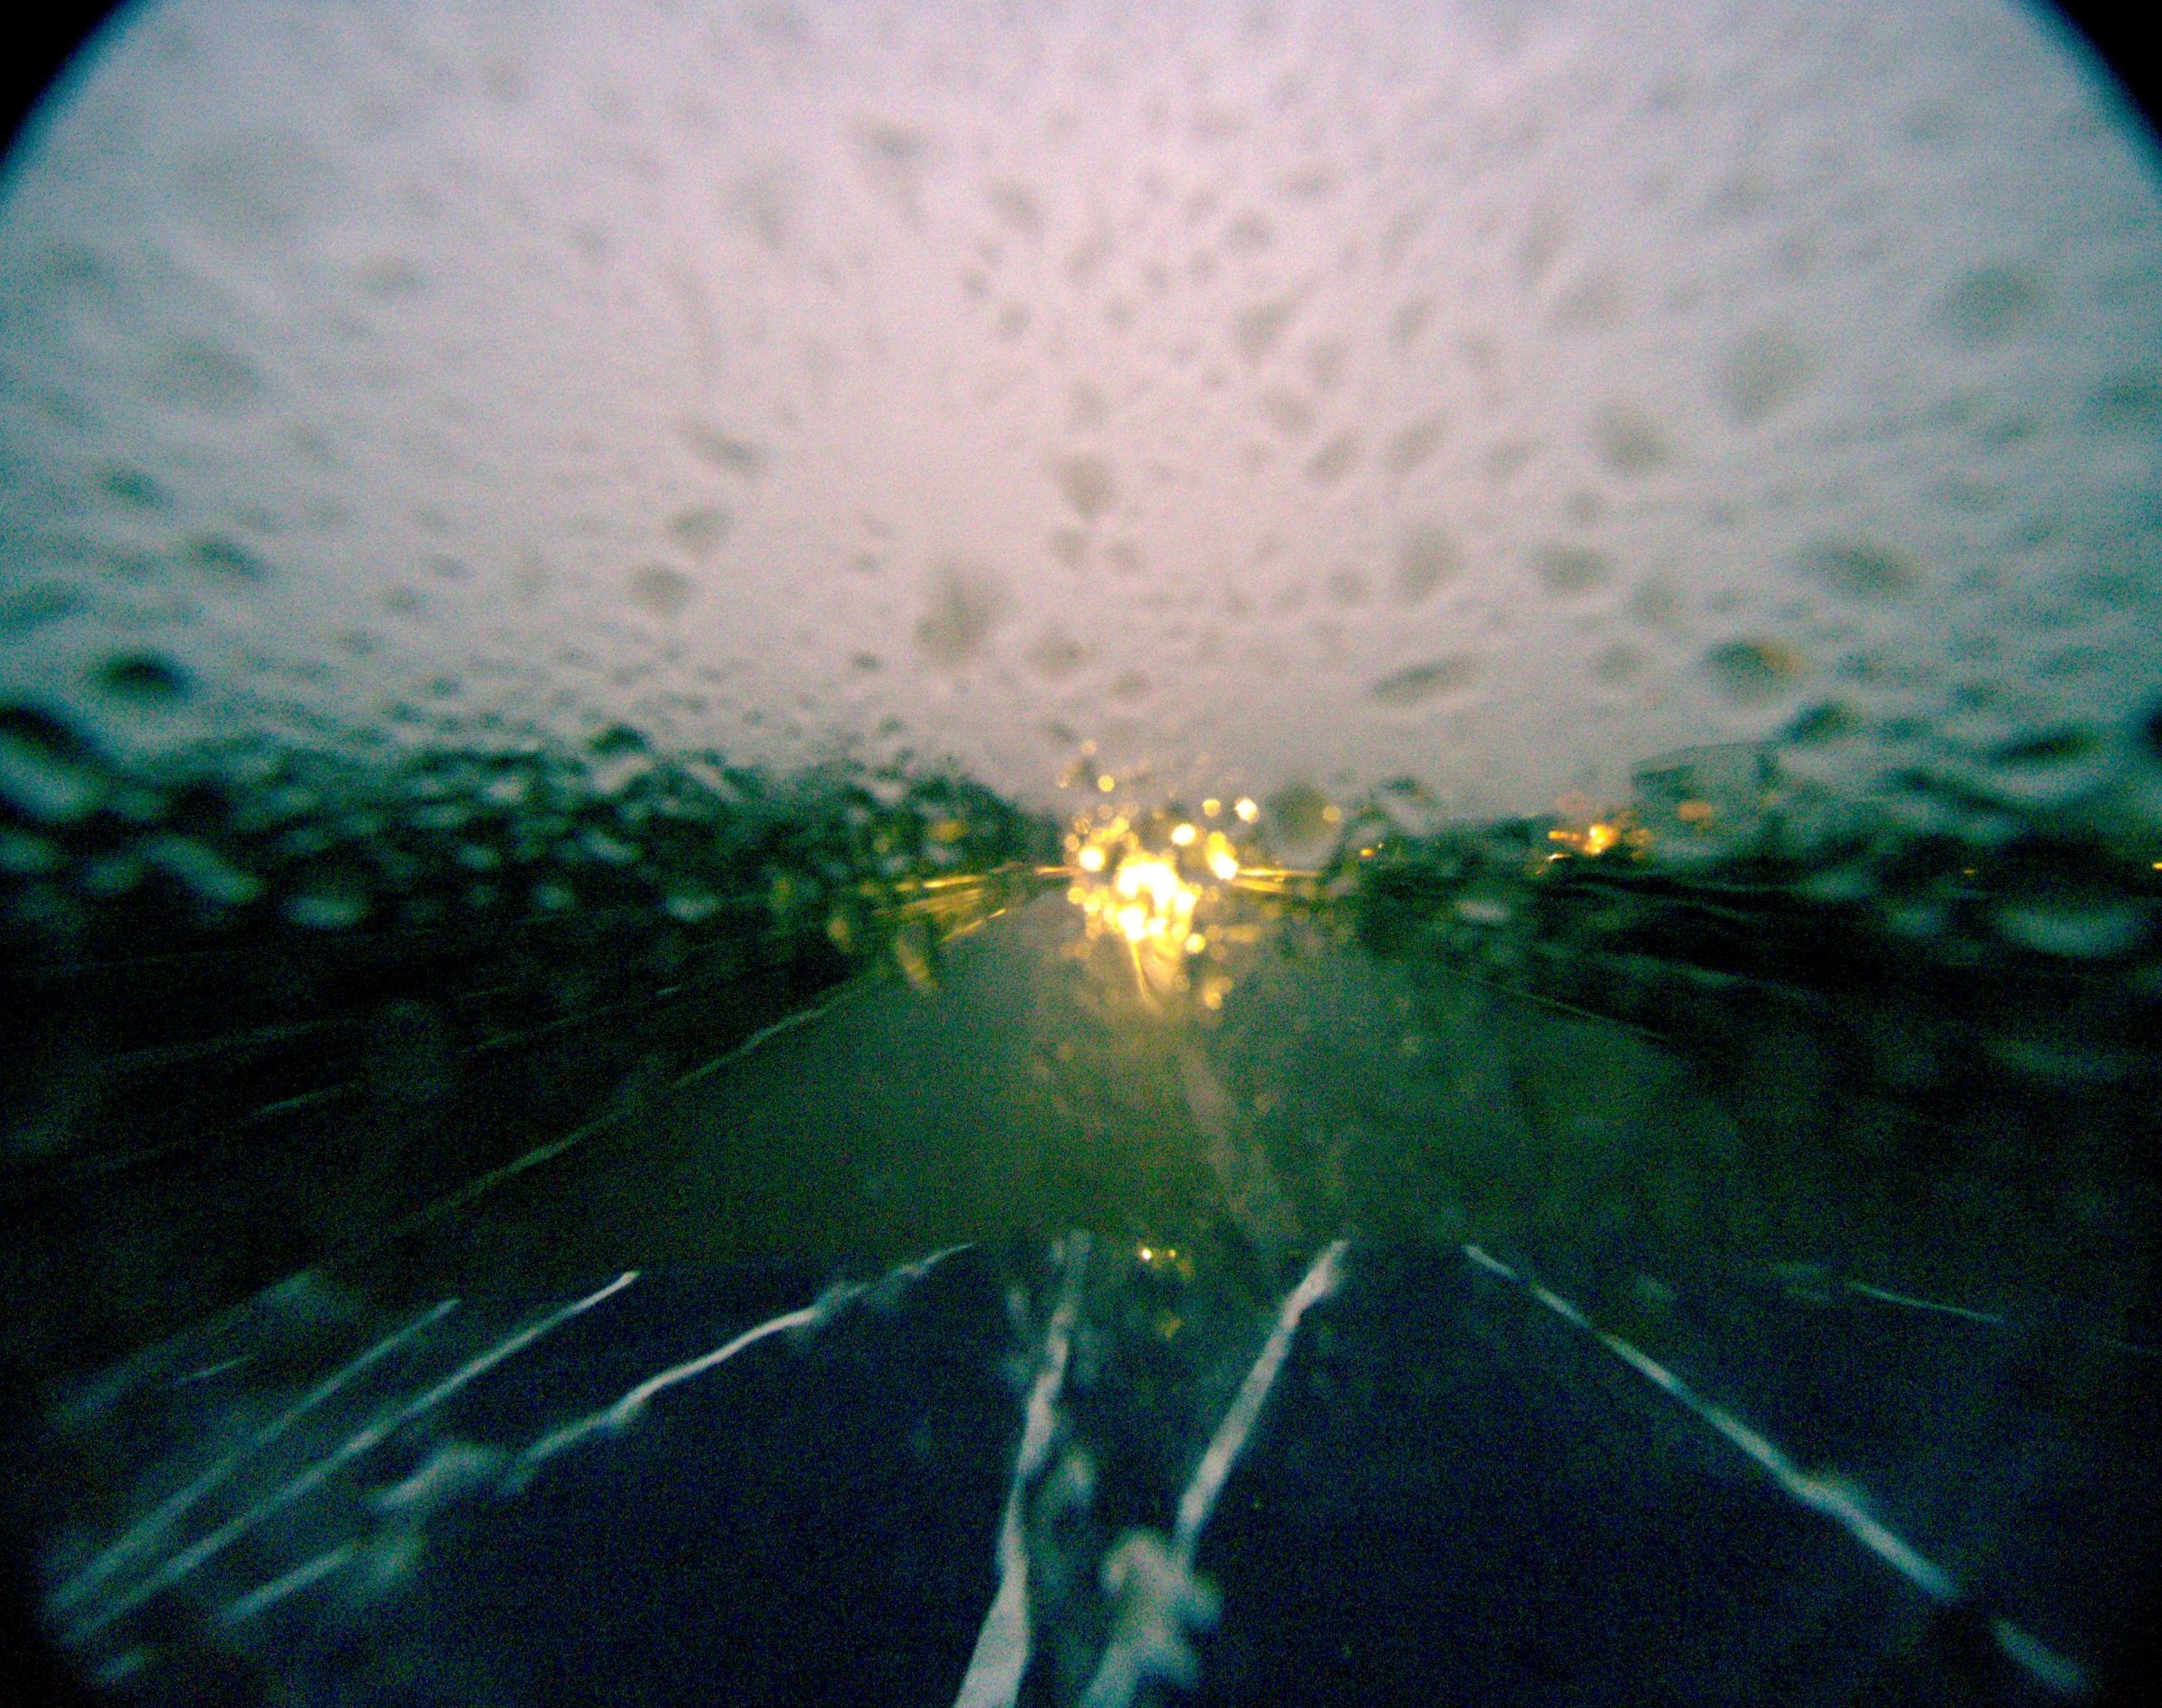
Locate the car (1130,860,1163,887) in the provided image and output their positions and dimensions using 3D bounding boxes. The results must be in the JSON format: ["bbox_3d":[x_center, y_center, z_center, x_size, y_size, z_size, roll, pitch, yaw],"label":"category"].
[{"bbox_3d":[4.172,1.217,48.826,1.886,1.514,4.000,-3,0,2],"label":"car"}]
